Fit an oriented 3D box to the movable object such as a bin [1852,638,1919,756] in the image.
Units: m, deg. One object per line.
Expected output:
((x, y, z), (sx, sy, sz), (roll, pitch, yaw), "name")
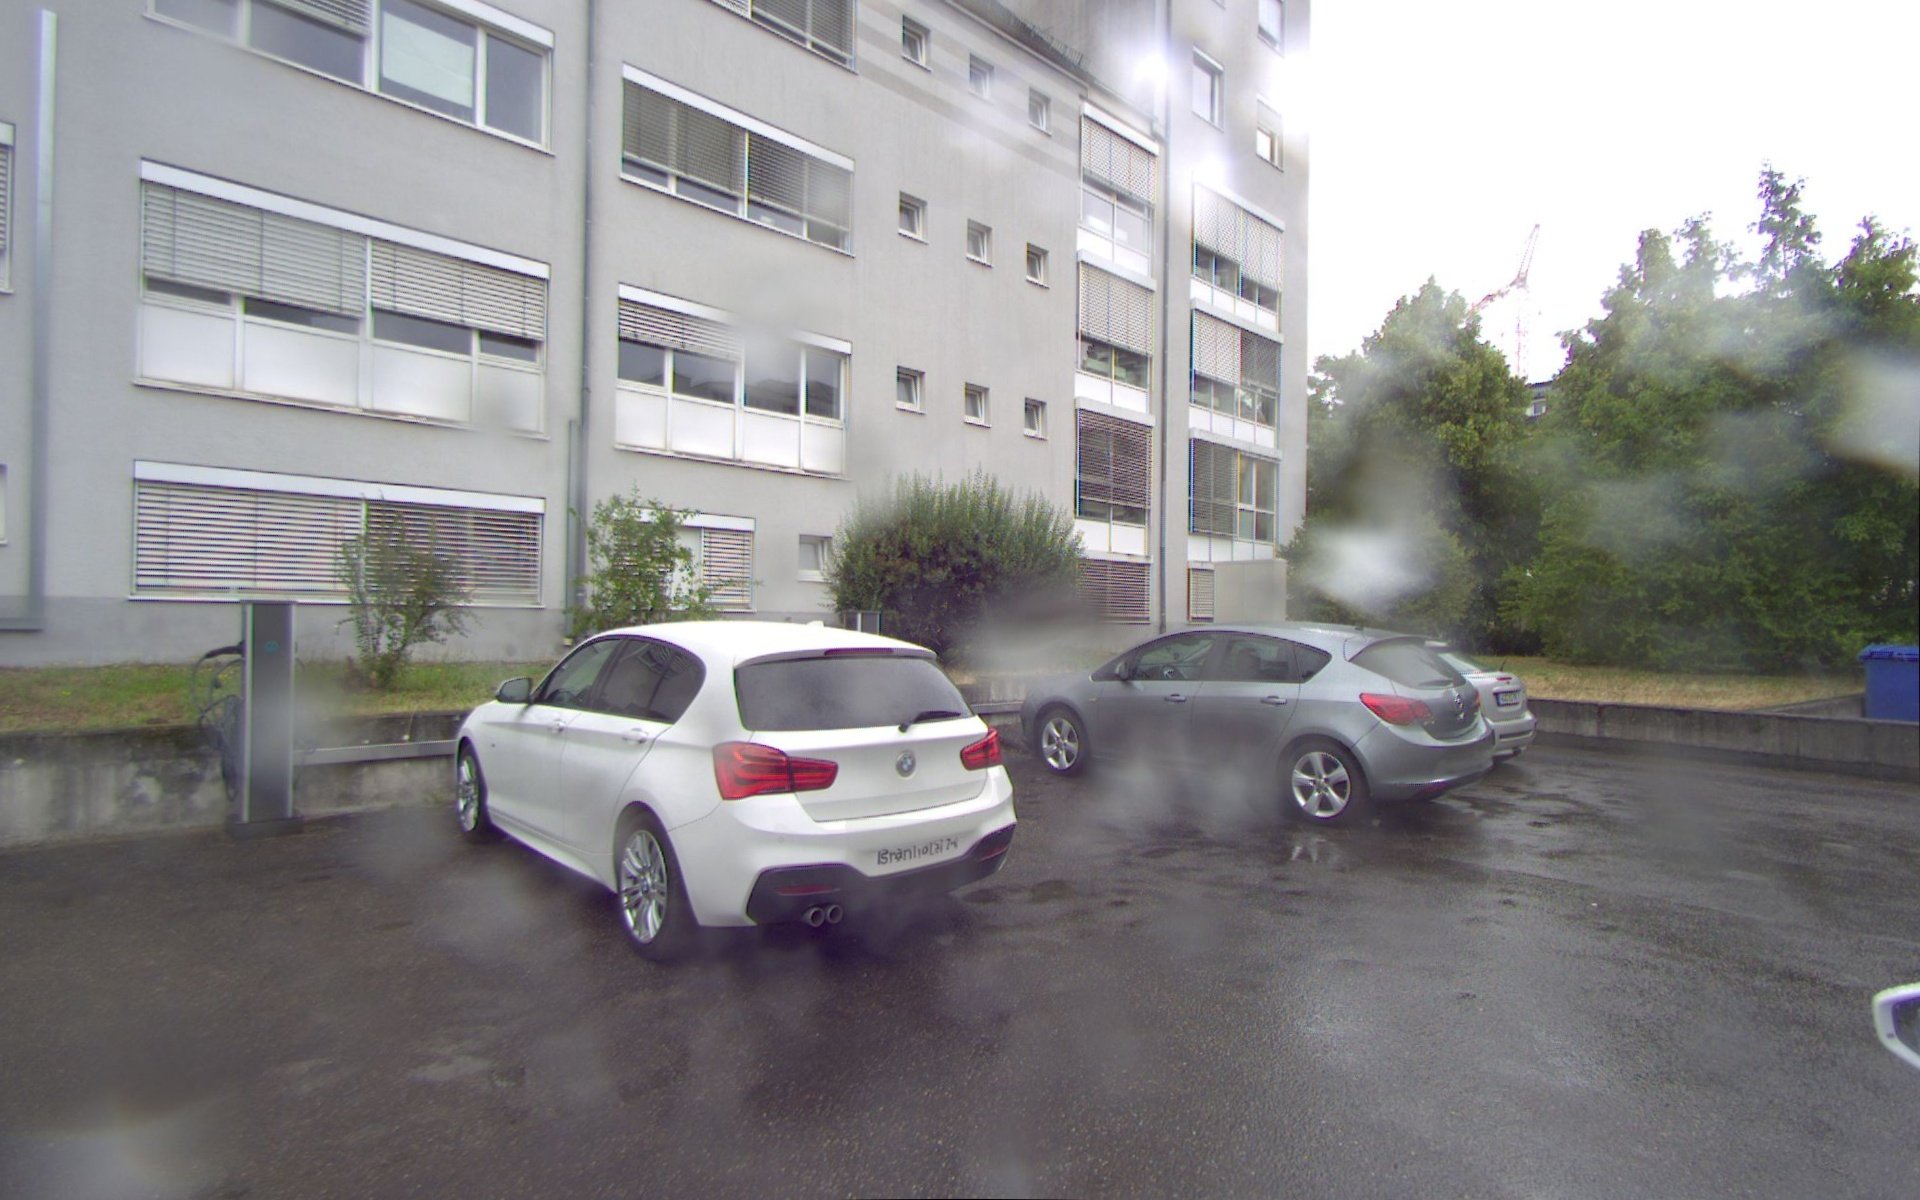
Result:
((11.959, 1.188, 12.406), (1.106, 1.355, 1.194), (-1, 2, -37), "movable object such as a bin")

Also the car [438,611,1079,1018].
((-1.447, 0.817, 5.738), (1.740, 1.452, 4.101), (2, -2, -42), "car")

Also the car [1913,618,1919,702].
((25.272, 1.404, 22.988), (1.981, 2.040, 4.748), (1, -2, -36), "car")

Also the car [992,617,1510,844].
((2.356, 0.919, 8.945), (1.809, 1.503, 4.127), (1, -1, -42), "car")

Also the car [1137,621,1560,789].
((4.236, 1.019, 11.488), (1.808, 1.351, 4.129), (1, 2, -41), "car")
